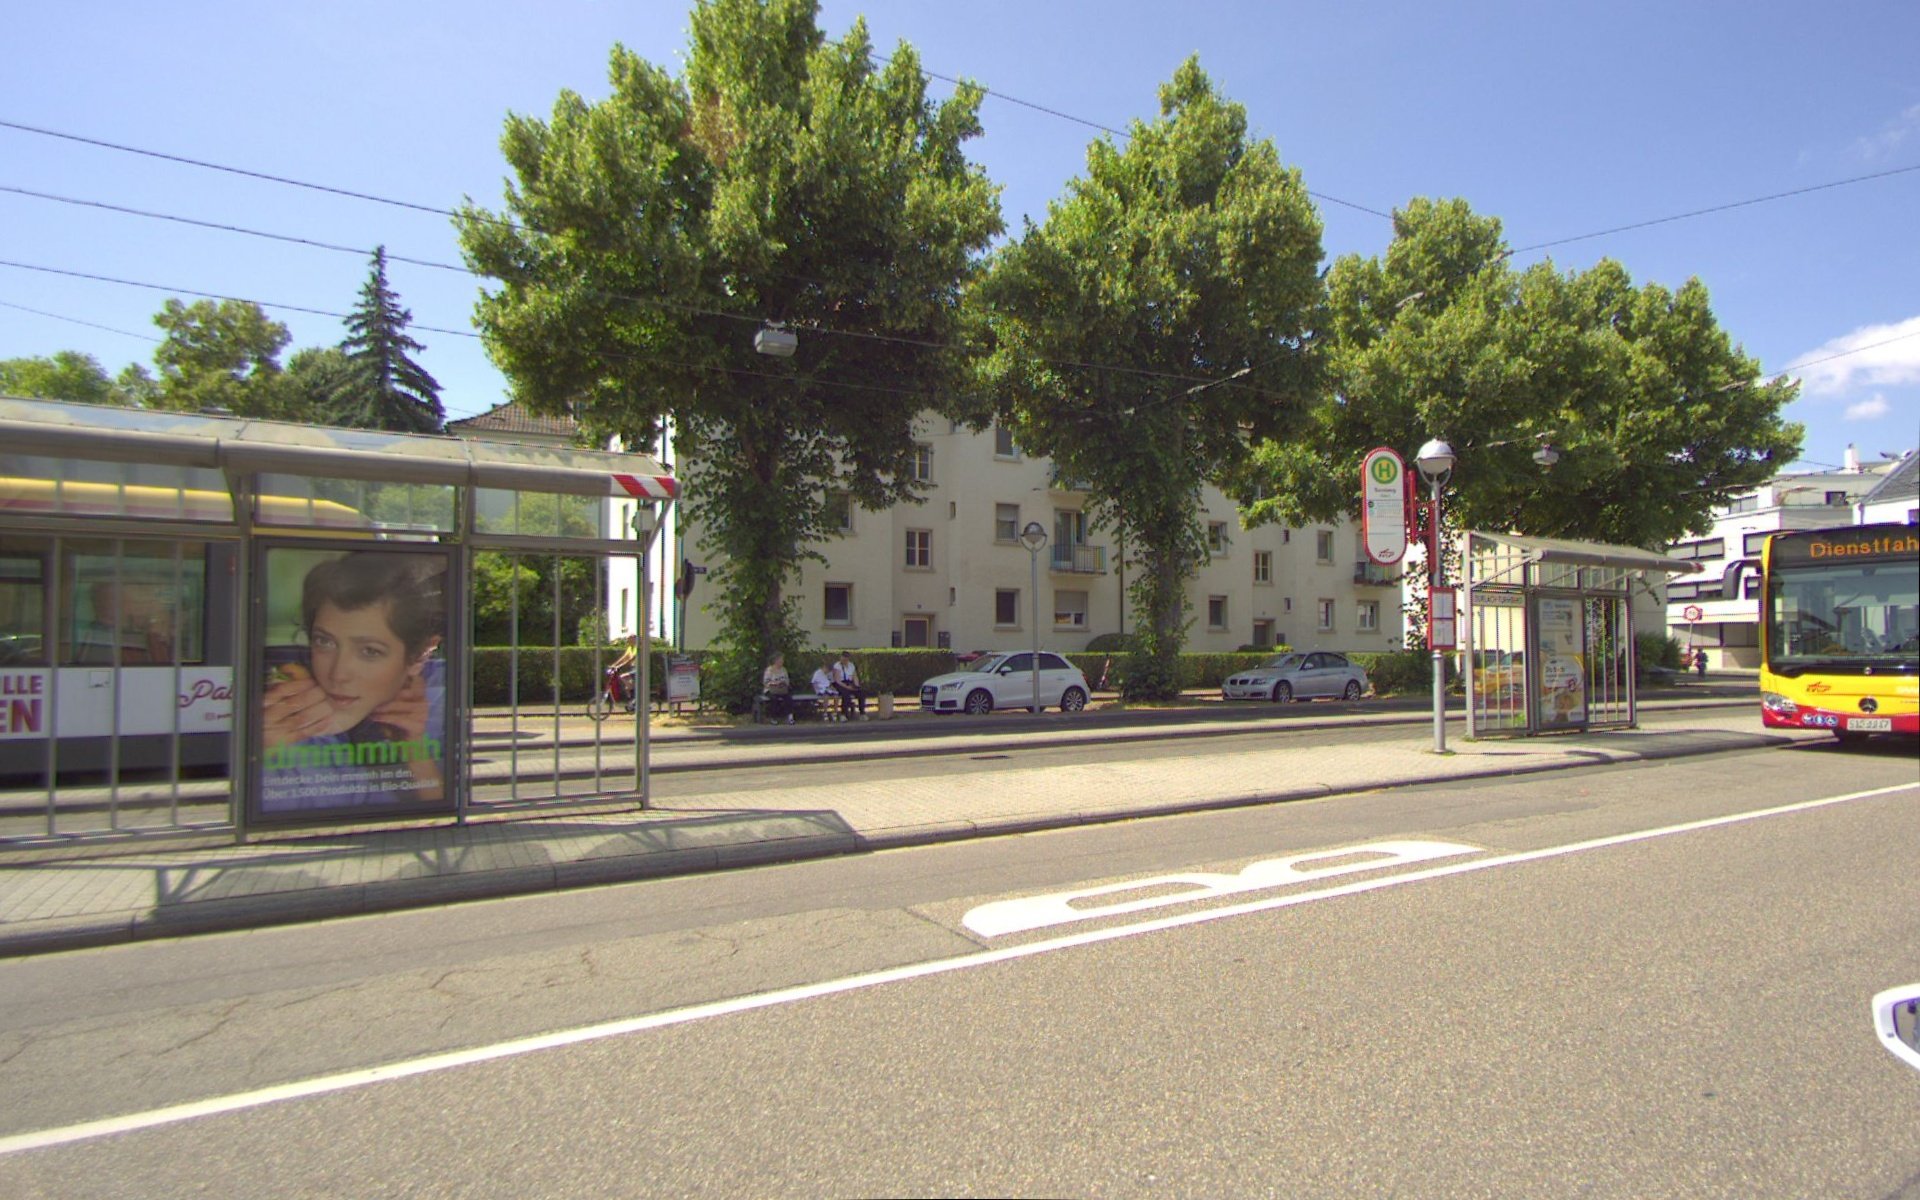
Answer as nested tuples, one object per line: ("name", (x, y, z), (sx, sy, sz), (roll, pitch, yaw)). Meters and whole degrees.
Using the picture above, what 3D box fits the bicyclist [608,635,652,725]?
("bicyclist", (-6.660, 1.599, 20.286), (0.665, 1.766, 0.632), (3, -1, -30))

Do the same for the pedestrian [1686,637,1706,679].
("pedestrian", (36.436, 2.846, 49.730), (0.672, 2.040, 0.618), (2, -1, 26))

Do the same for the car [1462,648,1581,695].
("car", (17.990, 2.284, 32.123), (3.959, 1.336, 1.704), (3, -2, -34))

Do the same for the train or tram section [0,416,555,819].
("train or tram section", (-11.401, 0.100, 9.368), (13.830, 3.691, 2.949), (2, -1, -30))

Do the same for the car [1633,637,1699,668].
("car", (51.268, 3.775, 73.012), (1.961, 2.040, 4.000), (2, -1, -1))

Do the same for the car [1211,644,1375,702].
("car", (8.887, 1.950, 26.677), (4.350, 1.375, 1.686), (3, -2, -31))

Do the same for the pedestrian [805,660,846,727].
("pedestrian", (-2.446, 1.687, 18.244), (0.533, 1.153, 0.612), (3, -1, -27))

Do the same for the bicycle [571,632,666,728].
("bicycle", (-6.852, 1.599, 20.185), (1.651, 1.837, 0.629), (3, -1, -30))

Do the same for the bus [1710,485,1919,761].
("bus", (16.216, 0.465, 15.676), (11.979, 3.291, 2.893), (2, -1, -31))

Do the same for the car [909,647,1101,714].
("car", (1.014, 1.745, 21.915), (3.954, 1.290, 1.561), (3, -2, -30))

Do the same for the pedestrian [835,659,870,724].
("pedestrian", (-1.985, 1.683, 18.495), (0.451, 1.153, 0.508), (3, -1, -27))

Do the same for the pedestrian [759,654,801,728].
("pedestrian", (-3.192, 1.603, 17.781), (0.533, 1.267, 0.612), (3, -1, -27))
